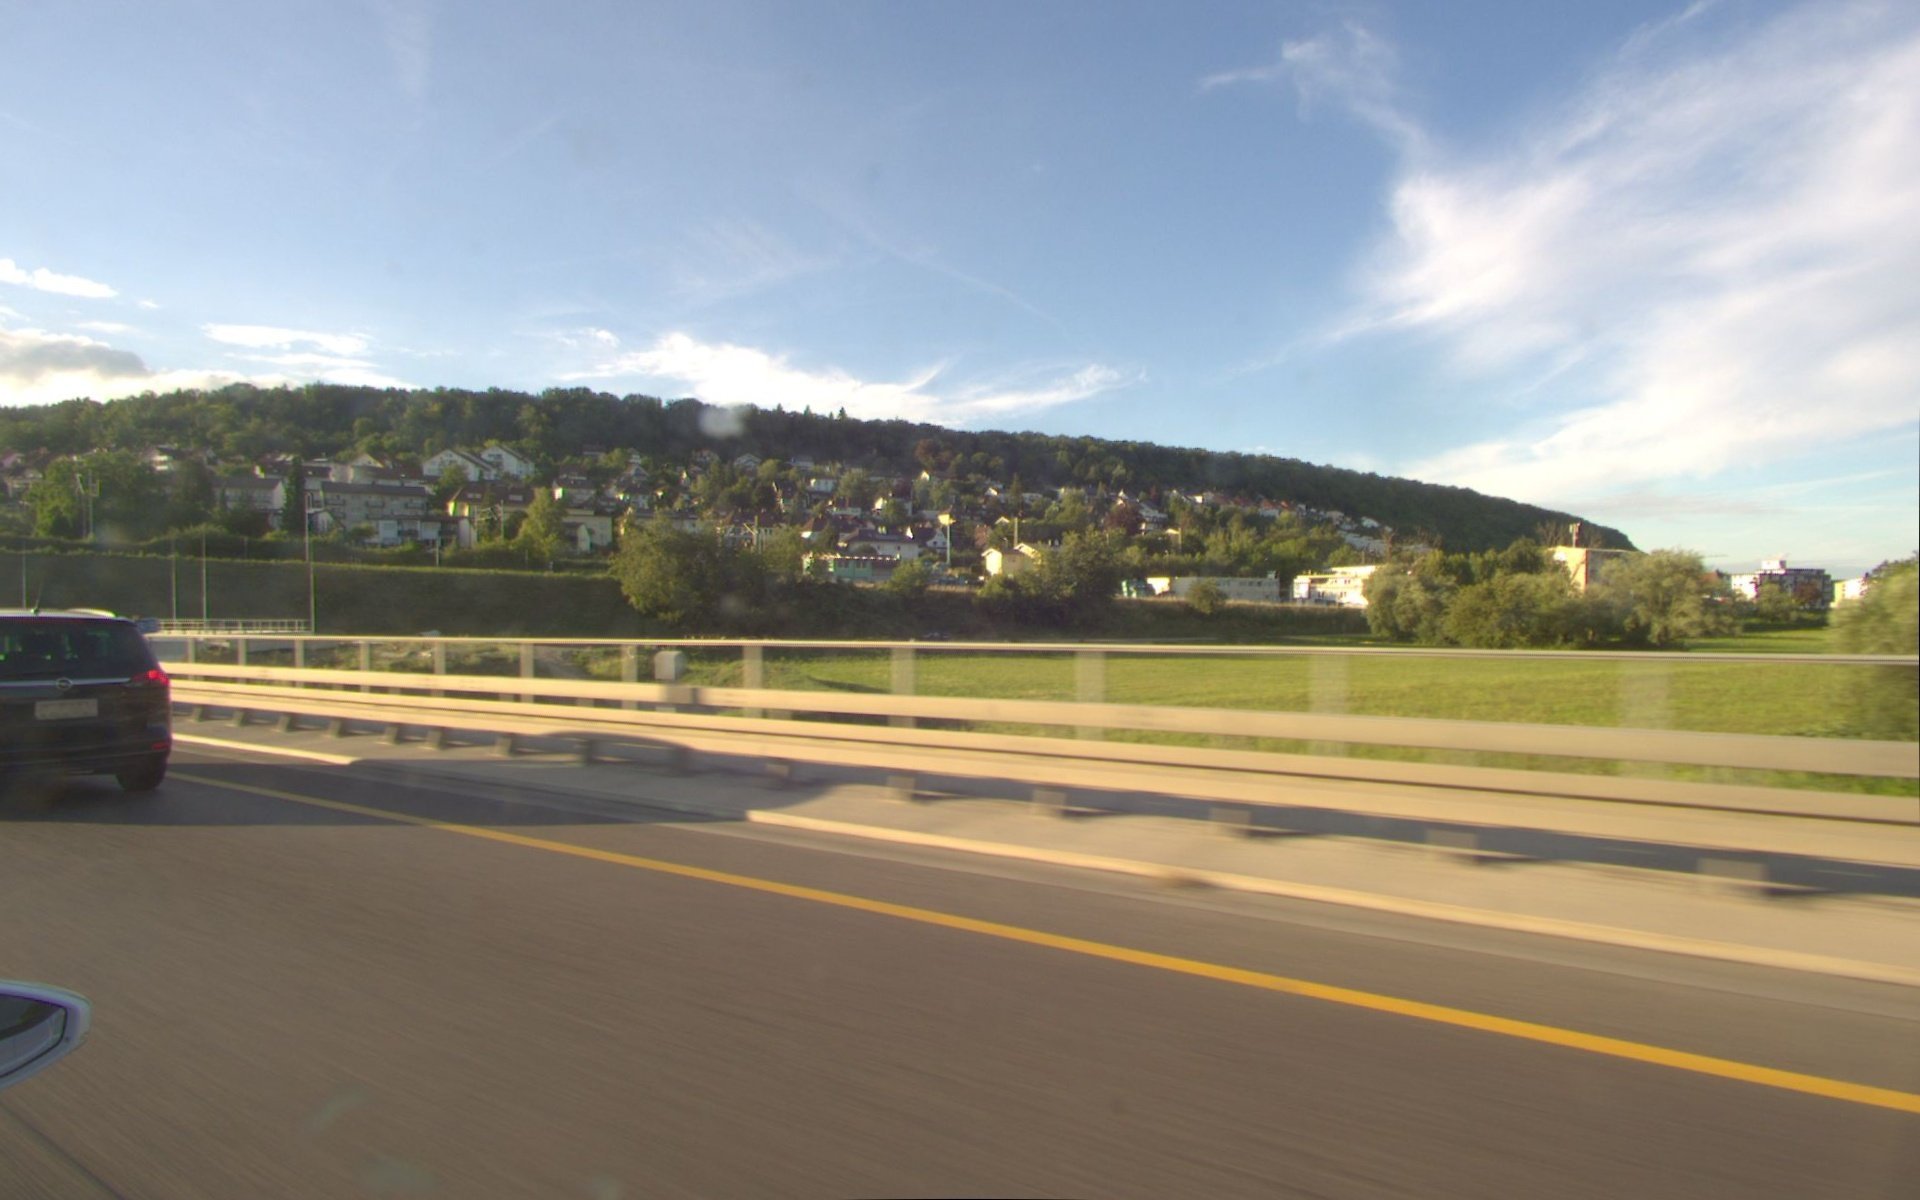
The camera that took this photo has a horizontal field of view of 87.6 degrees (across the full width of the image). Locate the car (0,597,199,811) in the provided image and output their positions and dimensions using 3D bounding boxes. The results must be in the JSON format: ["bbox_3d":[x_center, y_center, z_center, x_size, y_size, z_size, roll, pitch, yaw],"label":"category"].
[{"bbox_3d":[-9.058,0.839,9.273,4.348,1.653,1.811,-1,-2,33],"label":"car"}]
